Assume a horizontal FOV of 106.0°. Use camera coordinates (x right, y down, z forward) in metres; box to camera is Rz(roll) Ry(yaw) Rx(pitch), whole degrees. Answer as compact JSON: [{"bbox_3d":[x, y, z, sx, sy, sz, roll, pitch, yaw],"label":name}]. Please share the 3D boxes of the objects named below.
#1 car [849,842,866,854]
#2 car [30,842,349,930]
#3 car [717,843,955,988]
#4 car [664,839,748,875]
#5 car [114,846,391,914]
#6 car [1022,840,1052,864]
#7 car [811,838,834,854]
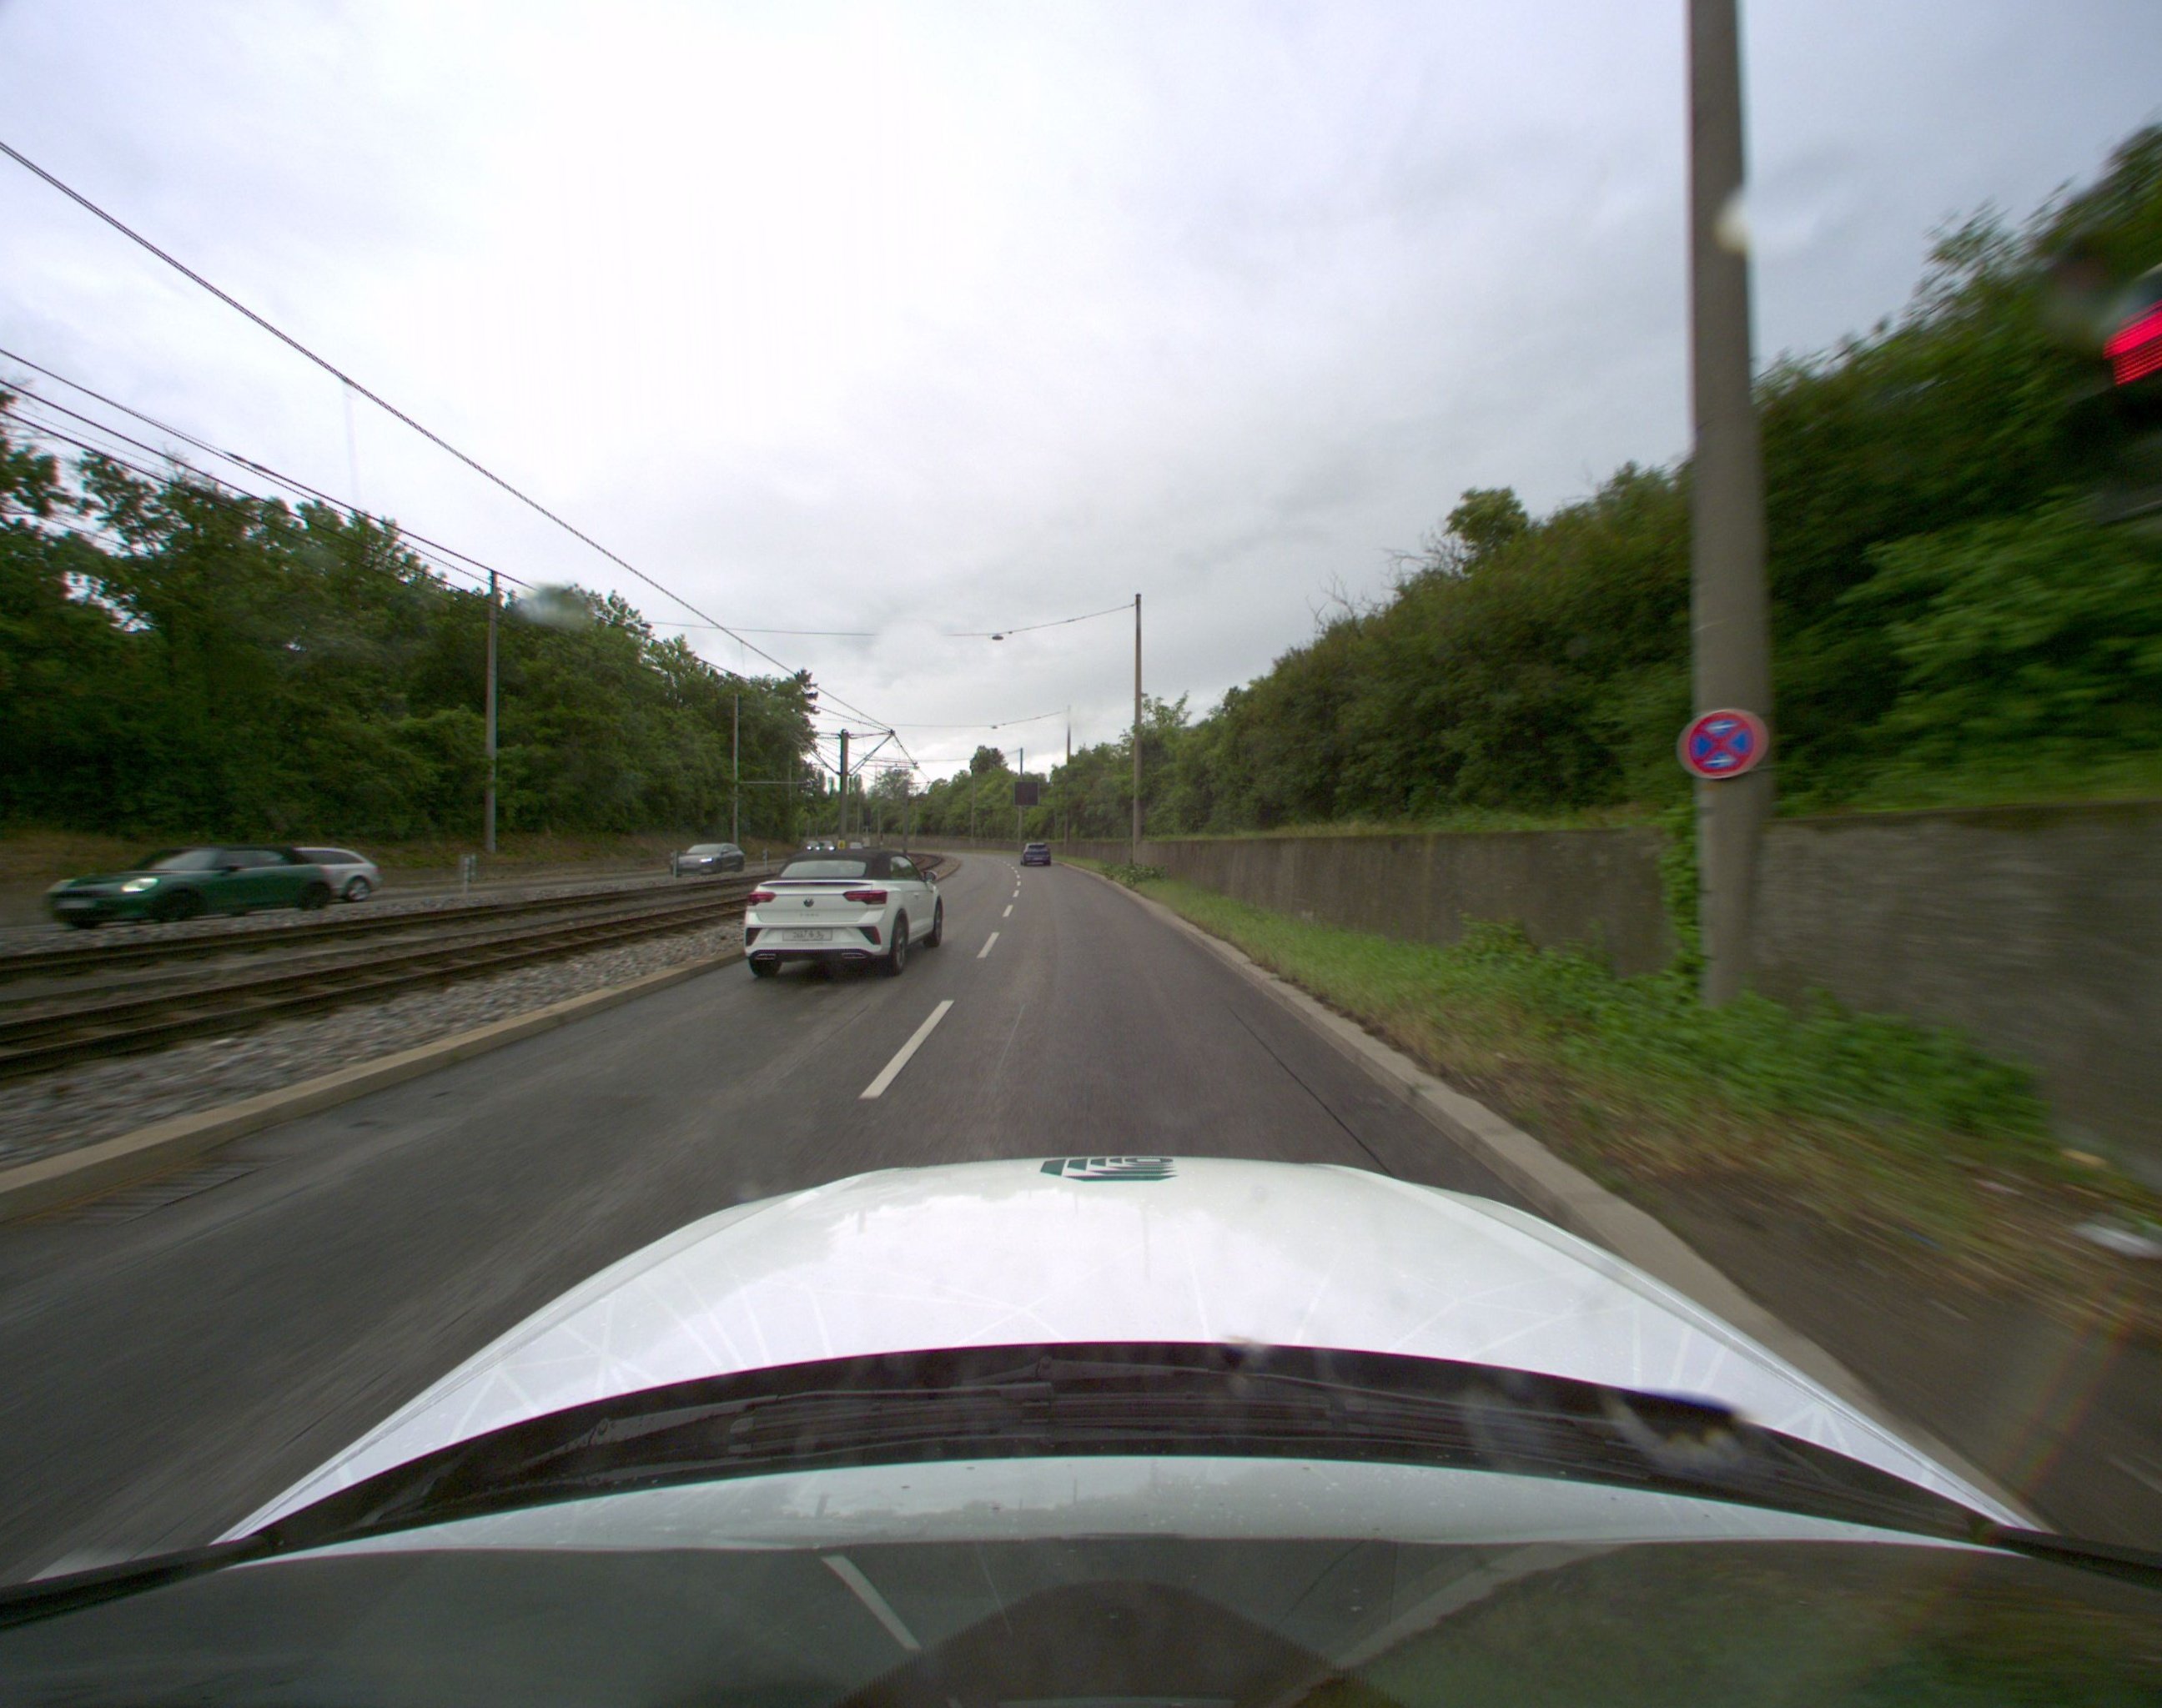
[{"bbox_3d":[-25.704,-0.692,93.579,1.711,1.415,4.006,0,0,-19],"label":"car"},{"bbox_3d":[-16.358,0.516,15.289,1.627,1.384,3.895,-2,0,1],"label":"car"},{"bbox_3d":[-3.039,0.642,11.221,1.865,1.524,4.540,-1,1,0],"label":"car"},{"bbox_3d":[-16.912,0.077,37.012,1.858,1.438,4.848,-2,1,-4],"label":"car"},{"bbox_3d":[-19.173,0.513,19.251,1.815,1.380,4.701,-1,1,-2],"label":"car"},{"bbox_3d":[-2.889,-0.154,52.834,1.761,1.501,3.991,0,1,-7],"label":"car"},{"bbox_3d":[-27.489,-0.839,86.675,1.792,1.669,4.702,-1,1,-24],"label":"car"}]
